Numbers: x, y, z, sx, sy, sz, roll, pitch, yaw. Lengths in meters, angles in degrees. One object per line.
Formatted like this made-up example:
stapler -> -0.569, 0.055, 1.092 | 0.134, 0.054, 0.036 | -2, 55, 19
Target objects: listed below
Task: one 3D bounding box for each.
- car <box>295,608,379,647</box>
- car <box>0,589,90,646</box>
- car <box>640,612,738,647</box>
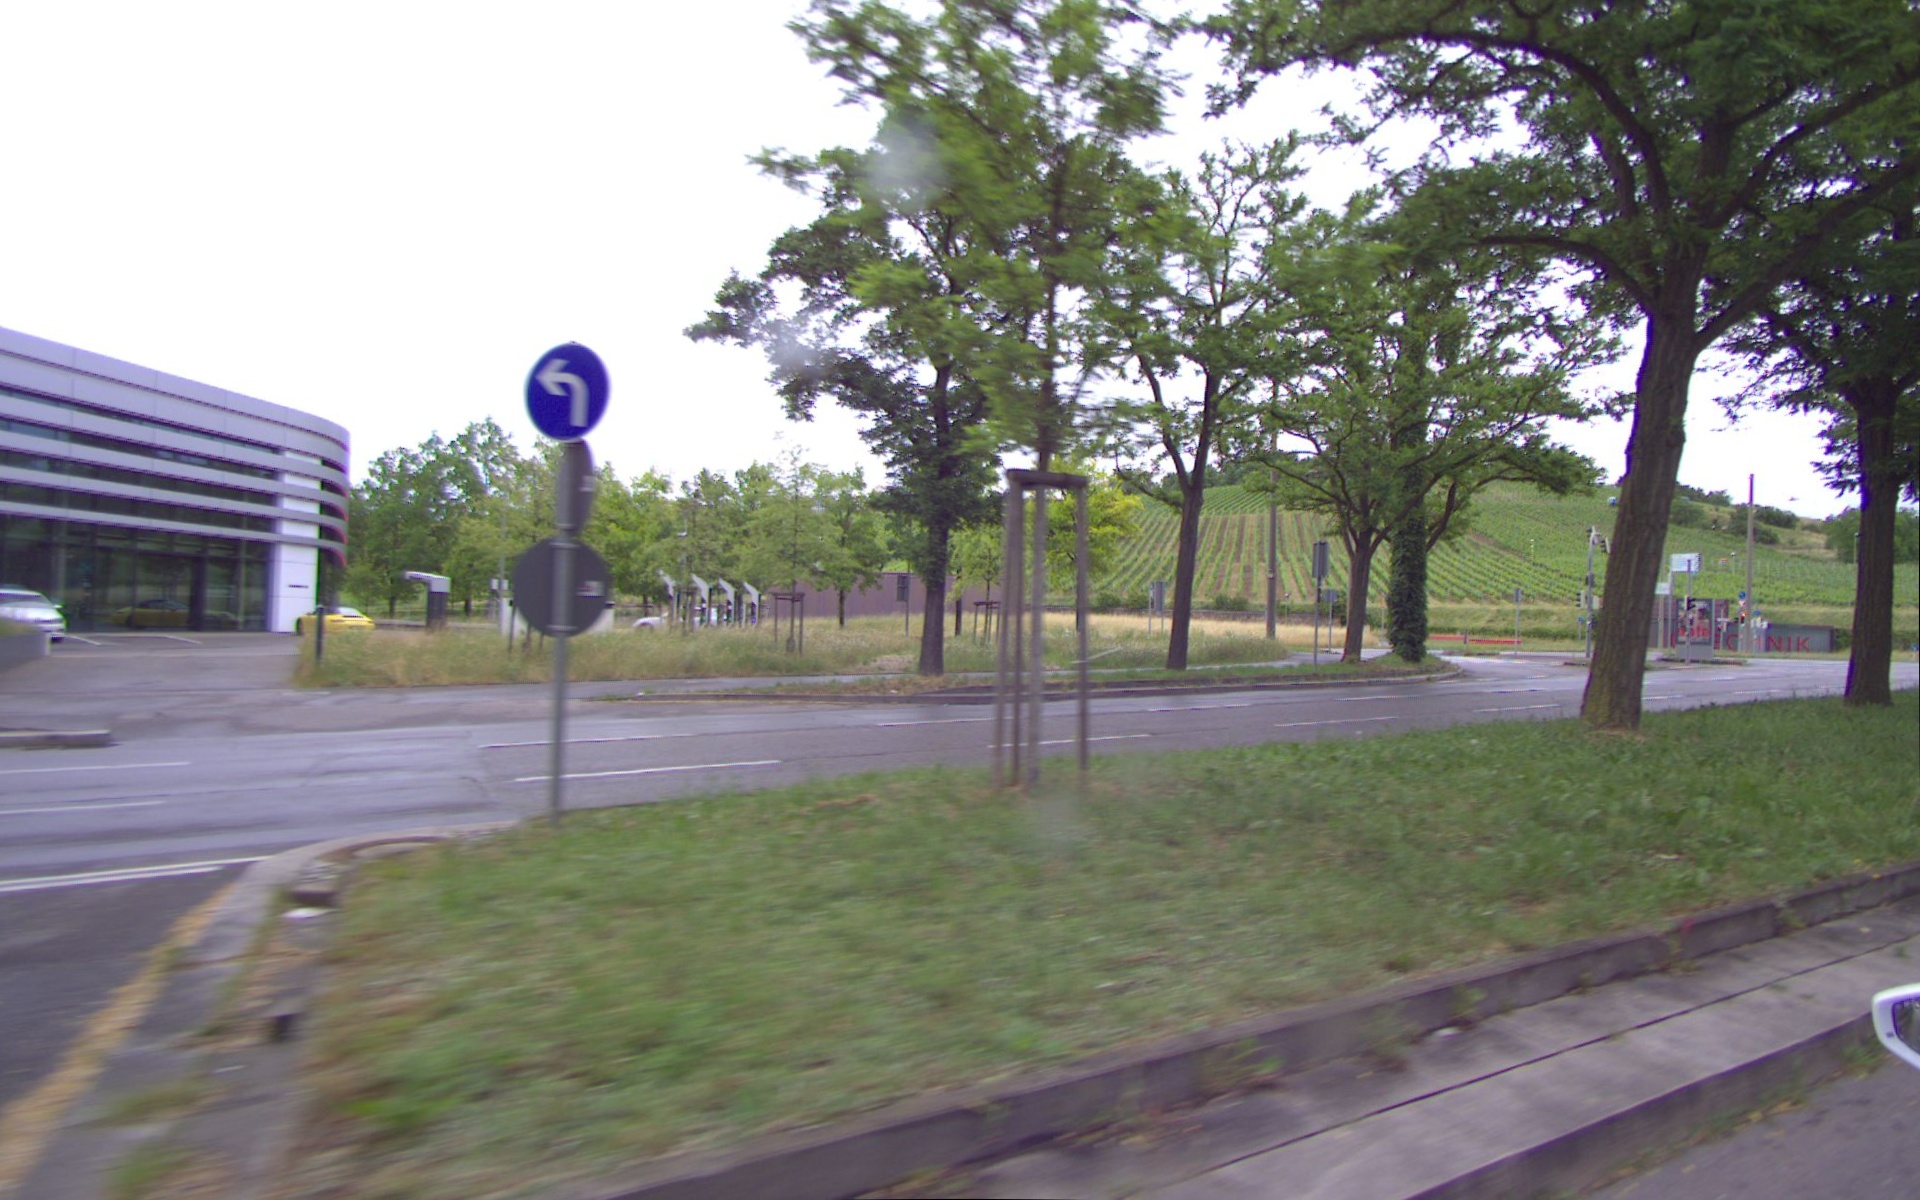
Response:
car -> -25.684, 1.123, 41.384 | 3.936, 1.341, 1.614 | 3, 0, 37
car -> -27.337, 0.480, 29.240 | 3.928, 1.432, 1.776 | 3, 0, 29
car -> -11.787, 1.273, 43.869 | 3.927, 1.261, 1.617 | 3, 0, -9
